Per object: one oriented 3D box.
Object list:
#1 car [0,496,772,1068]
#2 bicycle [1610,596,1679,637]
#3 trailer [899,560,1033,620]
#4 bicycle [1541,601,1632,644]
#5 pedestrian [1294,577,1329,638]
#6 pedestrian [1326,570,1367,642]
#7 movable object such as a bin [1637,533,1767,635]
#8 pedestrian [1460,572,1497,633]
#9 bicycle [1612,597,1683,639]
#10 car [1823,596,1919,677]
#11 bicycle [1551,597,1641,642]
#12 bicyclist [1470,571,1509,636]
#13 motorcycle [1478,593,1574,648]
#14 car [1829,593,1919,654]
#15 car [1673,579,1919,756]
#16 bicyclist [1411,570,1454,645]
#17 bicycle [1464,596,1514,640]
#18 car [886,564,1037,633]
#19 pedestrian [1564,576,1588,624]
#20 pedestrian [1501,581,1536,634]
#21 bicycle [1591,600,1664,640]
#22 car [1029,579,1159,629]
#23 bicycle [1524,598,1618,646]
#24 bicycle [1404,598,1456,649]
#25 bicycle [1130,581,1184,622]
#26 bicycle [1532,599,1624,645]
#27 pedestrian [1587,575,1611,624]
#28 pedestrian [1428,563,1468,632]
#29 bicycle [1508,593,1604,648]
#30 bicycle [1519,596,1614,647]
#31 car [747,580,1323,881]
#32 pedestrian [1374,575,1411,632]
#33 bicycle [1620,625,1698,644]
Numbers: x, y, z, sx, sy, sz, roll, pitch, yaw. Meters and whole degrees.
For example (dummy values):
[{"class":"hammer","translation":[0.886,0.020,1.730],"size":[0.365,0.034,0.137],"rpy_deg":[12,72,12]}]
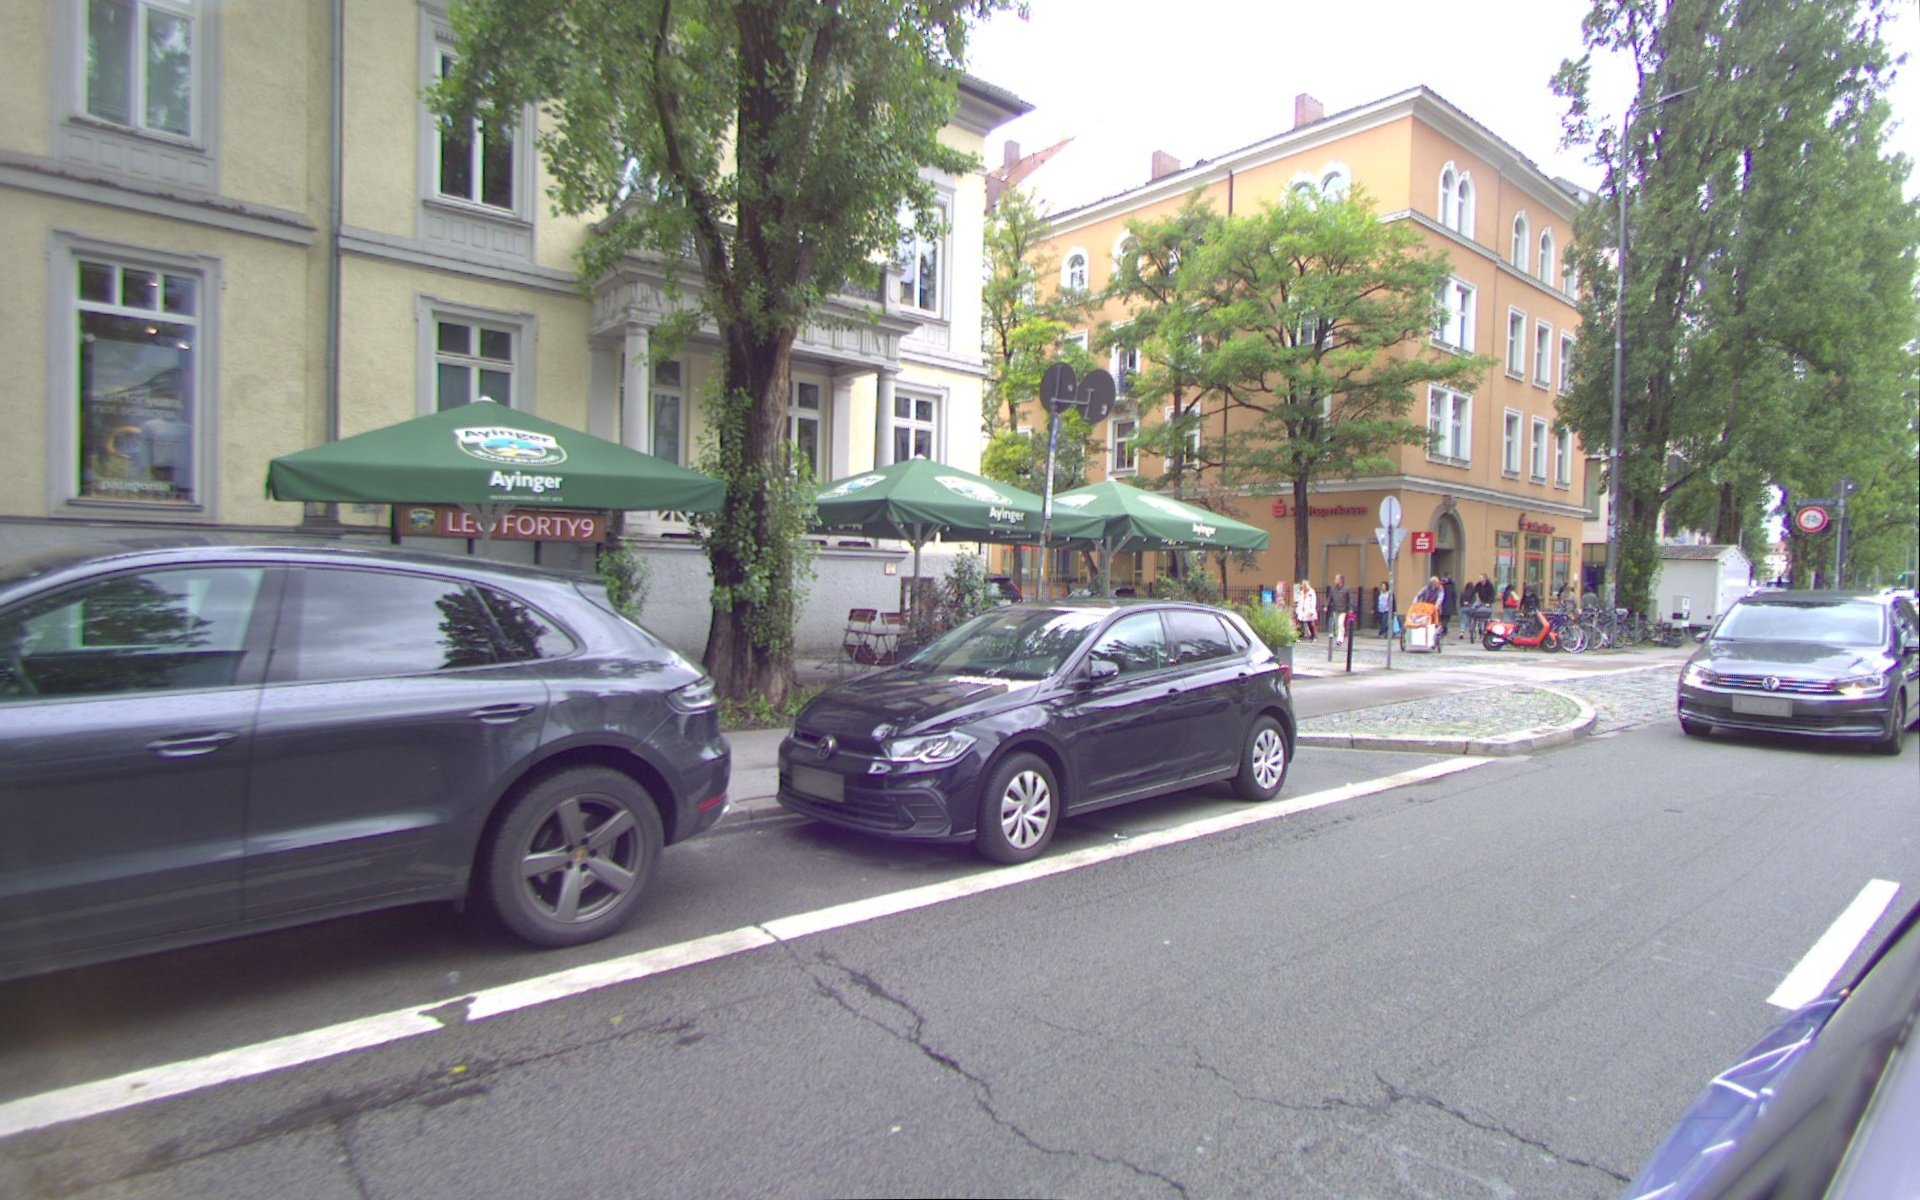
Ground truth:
[{"class":"car","translation":[-3.083,0.512,3.876],"size":[4.371,1.658,1.805],"rpy_deg":[0,1,-42]},{"class":"bicycle","translation":[19.610,0.462,29.025],"size":[1.593,1.098,0.319],"rpy_deg":[2,1,28]},{"class":"trailer","translation":[0.140,-0.388,36.940],"size":[1.873,2.054,5.247],"rpy_deg":[1,1,-41]},{"class":"bicycle","translation":[16.436,0.569,26.604],"size":[0.551,1.022,1.945],"rpy_deg":[1,1,-39]},{"class":"pedestrian","translation":[9.299,0.186,26.778],"size":[0.564,1.590,0.699],"rpy_deg":[0,0,-38]},{"class":"pedestrian","translation":[9.845,0.144,25.781],"size":[0.718,1.788,0.699],"rpy_deg":[0,0,-38]},{"class":"movable object such as a bin","translation":[25.158,-0.555,34.269],"size":[4.463,3.175,2.445],"rpy_deg":[0,3,-40]},{"class":"pedestrian","translation":[14.775,0.065,28.824],"size":[0.744,1.682,0.759],"rpy_deg":[0,0,45]},{"class":"bicycle","translation":[19.469,0.496,28.690],"size":[1.588,1.098,0.339],"rpy_deg":[2,1,28]},{"class":"car","translation":[19.028,0.678,20.030],"size":[3.922,1.451,1.620],"rpy_deg":[0,0,-28]},{"class":"bicycle","translation":[16.993,0.504,27.086],"size":[0.551,1.098,1.945],"rpy_deg":[1,1,-39]},{"class":"bicyclist","translation":[14.273,0.076,27.292],"size":[0.739,1.708,0.737],"rpy_deg":[2,1,42]},{"class":"motorcycle","translation":[13.638,0.475,24.430],"size":[1.939,1.236,0.510],"rpy_deg":[2,1,25]},{"class":"car","translation":[26.272,0.611,28.772],"size":[4.421,1.572,1.787],"rpy_deg":[0,1,-42]},{"class":"car","translation":[9.625,0.600,11.259],"size":[4.120,1.611,1.881],"rpy_deg":[0,1,-42]},{"class":"bicyclist","translation":[11.451,0.167,24.516],"size":[0.825,1.779,0.659],"rpy_deg":[2,1,33]},{"class":"bicycle","translation":[14.308,0.462,27.346],"size":[0.735,1.134,2.071],"rpy_deg":[2,1,41]},{"class":"car","translation":[-0.047,-0.065,27.713],"size":[1.934,1.723,4.429],"rpy_deg":[0,1,-36]},{"class":"pedestrian","translation":[22.142,-0.015,36.381],"size":[0.565,1.715,0.633],"rpy_deg":[0,0,-44]},{"class":"pedestrian","translation":[17.137,0.218,31.051],"size":[0.603,1.590,0.746],"rpy_deg":[0,0,-38]},{"class":"bicycle","translation":[18.256,0.537,27.699],"size":[1.597,1.022,0.337],"rpy_deg":[2,1,43]},{"class":"car","translation":[4.296,0.100,32.897],"size":[1.873,1.539,3.993],"rpy_deg":[0,1,-41]},{"class":"bicycle","translation":[15.480,0.541,25.686],"size":[0.551,1.102,1.945],"rpy_deg":[1,1,-39]},{"class":"bicycle","translation":[11.302,0.532,24.294],"size":[0.880,1.134,2.078],"rpy_deg":[2,1,31]},{"class":"bicycle","translation":[6.910,0.048,35.552],"size":[0.551,1.389,1.945],"rpy_deg":[1,0,-39]},{"class":"bicycle","translation":[15.986,0.543,26.218],"size":[0.551,1.089,1.945],"rpy_deg":[1,1,-39]},{"class":"pedestrian","translation":[22.784,-0.011,36.068],"size":[0.565,1.715,0.618],"rpy_deg":[0,0,-44]},{"class":"pedestrian","translation":[14.131,-0.074,29.304],"size":[0.788,1.973,0.838],"rpy_deg":[0,0,-43]},{"class":"bicycle","translation":[14.569,0.479,24.796],"size":[0.551,1.255,1.945],"rpy_deg":[1,1,-39]},{"class":"bicycle","translation":[15.065,0.515,25.188],"size":[0.551,1.151,1.945],"rpy_deg":[1,1,-39]},{"class":"car","translation":[0.703,0.624,6.856],"size":[3.884,1.434,1.696],"rpy_deg":[0,1,-43]},{"class":"pedestrian","translation":[12.347,0.100,28.882],"size":[0.651,1.590,0.746],"rpy_deg":[0,0,-38]},{"class":"bicycle","translation":[19.218,0.944,27.842],"size":[1.672,0.378,0.818],"rpy_deg":[4,3,42]}]
